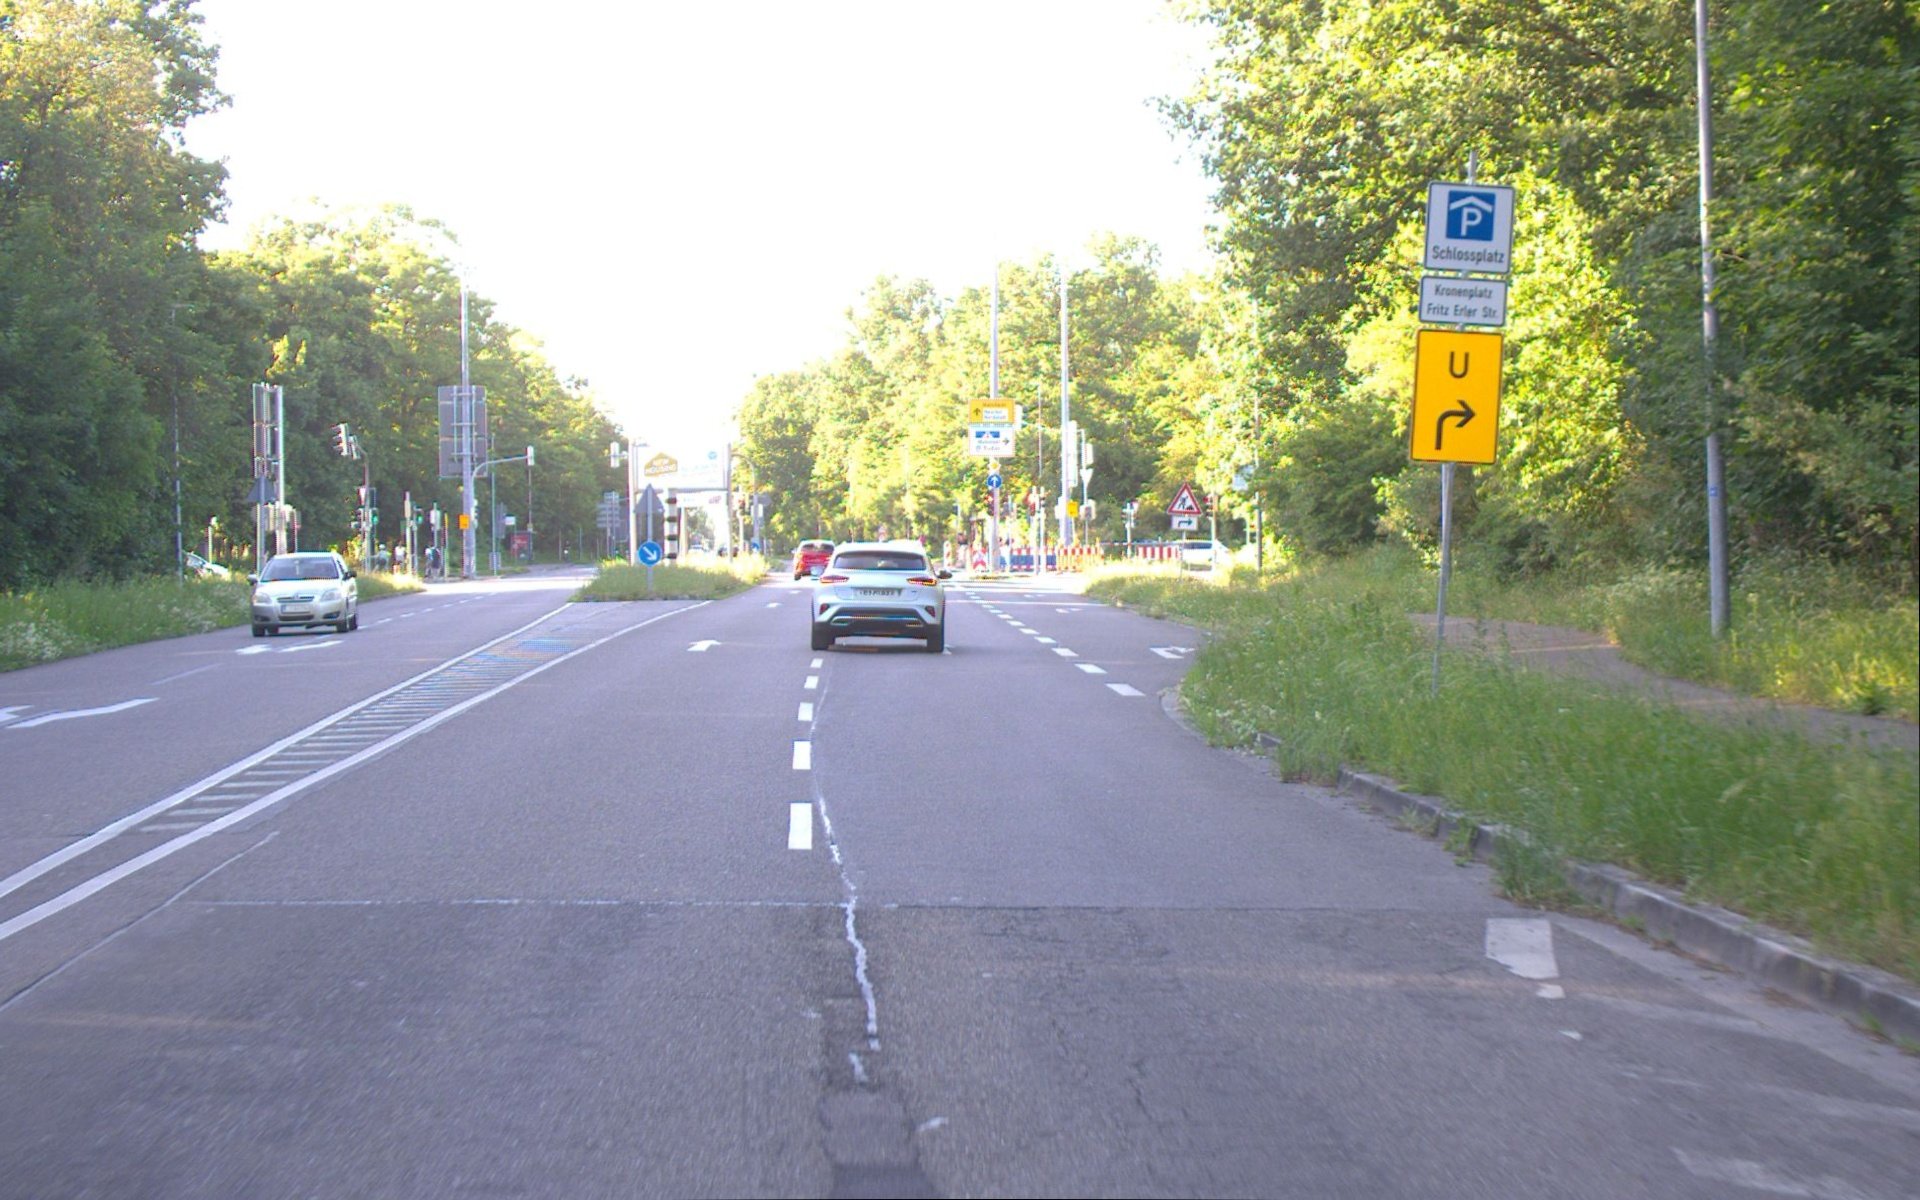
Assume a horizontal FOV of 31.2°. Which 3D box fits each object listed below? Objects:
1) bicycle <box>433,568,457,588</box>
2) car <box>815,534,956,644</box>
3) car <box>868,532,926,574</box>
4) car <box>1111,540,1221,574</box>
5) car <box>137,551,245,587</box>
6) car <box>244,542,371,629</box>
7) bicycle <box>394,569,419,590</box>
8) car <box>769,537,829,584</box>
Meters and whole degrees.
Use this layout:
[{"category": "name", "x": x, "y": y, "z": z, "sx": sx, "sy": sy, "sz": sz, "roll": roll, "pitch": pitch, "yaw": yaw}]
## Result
[{"category": "bicycle", "x": -23.104, "y": -0.985, "z": 154.253, "sx": 0.715, "sy": 0.911, "sz": 1.911, "roll": 0, "pitch": 1, "yaw": 2}, {"category": "car", "x": -1.055, "y": -0.169, "z": 47.891, "sx": 1.863, "sy": 1.439, "sz": 4.000, "roll": 1, "pitch": 1, "yaw": -2}, {"category": "car", "x": -2.153, "y": -1.626, "z": 117.989, "sx": 1.940, "sy": 1.409, "sz": 4.000, "roll": 0, "pitch": 1, "yaw": -1}, {"category": "car", "x": 9.700, "y": -2.020, "z": 161.901, "sx": 4.816, "sy": 1.575, "sz": 2.000, "roll": 0, "pitch": 1, "yaw": -23}, {"category": "car", "x": -30.165, "y": -1.229, "z": 134.899, "sx": 3.786, "sy": 1.384, "sz": 1.929, "roll": -1, "pitch": 1, "yaw": -27}, {"category": "car", "x": -11.833, "y": -0.290, "z": 62.574, "sx": 1.828, "sy": 1.450, "sz": 4.481, "roll": -3, "pitch": 1, "yaw": -6}, {"category": "bicycle", "x": -24.351, "y": -0.900, "z": 151.299, "sx": 0.715, "sy": 0.911, "sz": 1.911, "roll": 0, "pitch": 1, "yaw": 2}, {"category": "car", "x": -5.881, "y": -1.435, "z": 125.162, "sx": 1.993, "sy": 1.679, "sz": 4.001, "roll": 0, "pitch": 1, "yaw": -6}]
